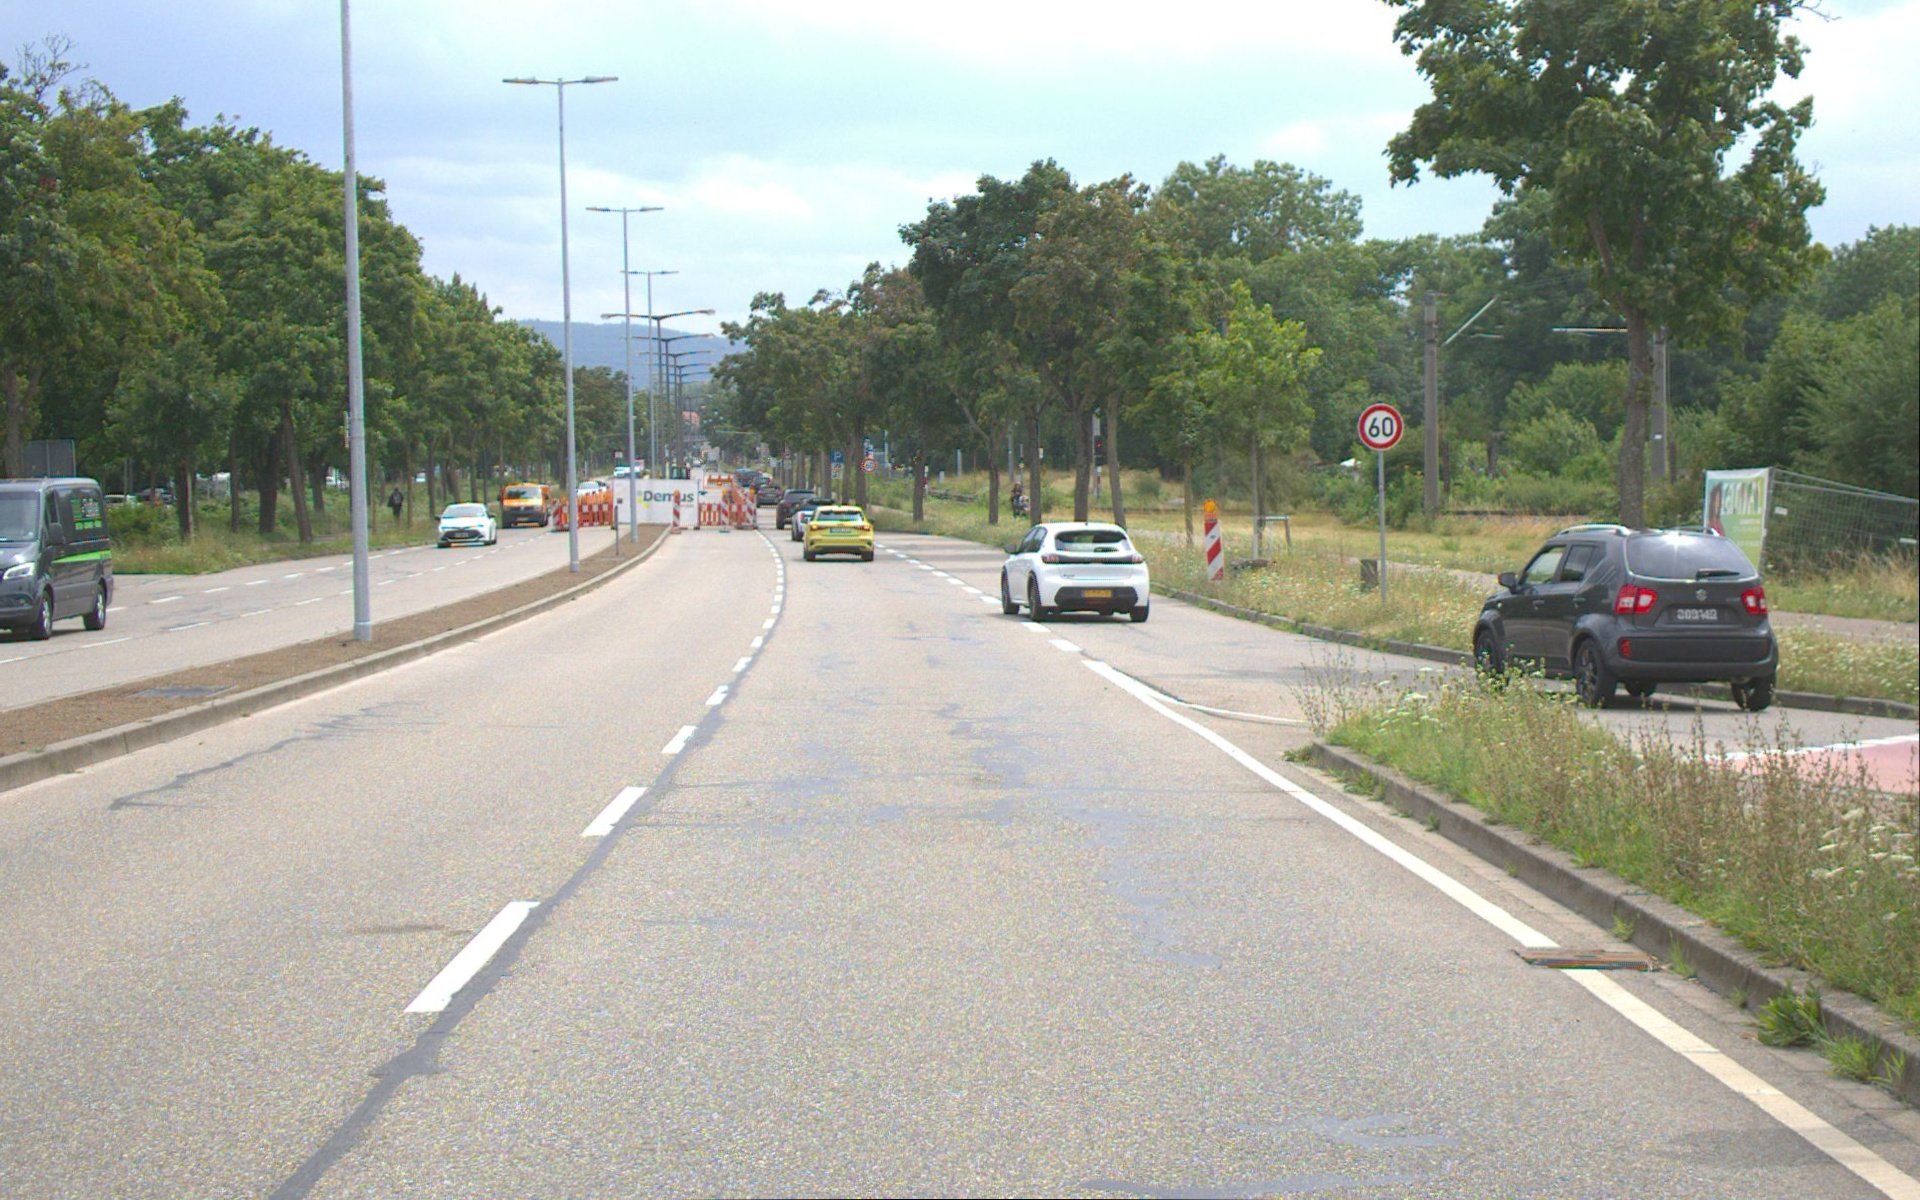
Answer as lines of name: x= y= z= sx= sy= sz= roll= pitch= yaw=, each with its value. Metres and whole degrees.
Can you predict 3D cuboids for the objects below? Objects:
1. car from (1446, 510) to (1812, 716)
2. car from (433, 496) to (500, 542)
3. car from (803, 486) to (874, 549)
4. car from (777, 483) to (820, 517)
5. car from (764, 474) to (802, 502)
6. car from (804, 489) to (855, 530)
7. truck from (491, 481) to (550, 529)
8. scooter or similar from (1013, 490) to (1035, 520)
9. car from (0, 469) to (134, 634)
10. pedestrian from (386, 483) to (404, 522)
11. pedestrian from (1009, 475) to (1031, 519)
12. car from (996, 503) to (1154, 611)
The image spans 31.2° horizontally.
car: x=5.892 y=0.056 z=30.772 sx=1.703 sy=1.662 sz=4.002 roll=0 pitch=2 yaw=-13
car: x=-16.550 y=-2.732 z=115.372 sx=1.716 sy=1.415 sz=4.161 roll=-2 pitch=3 yaw=-2
car: x=-3.186 y=-2.185 z=90.148 sx=1.793 sy=1.556 sz=4.001 roll=-1 pitch=3 yaw=-2
car: x=-6.564 y=-4.080 z=139.987 sx=1.667 sy=1.265 sz=4.001 roll=-1 pitch=3 yaw=-2
car: x=-10.991 y=-7.009 z=214.202 sx=2.206 sy=1.678 sz=4.001 roll=-1 pitch=3 yaw=-1
car: x=-4.349 y=-3.040 z=114.687 sx=1.667 sy=1.265 sz=4.001 roll=-1 pitch=3 yaw=-2
truck: x=-19.693 y=-4.280 z=154.245 sx=2.088 sy=1.987 sz=6.040 roll=-2 pitch=3 yaw=-2
scooter or similar: x=2.460 y=-3.673 z=132.735 sx=0.681 sy=1.126 sz=0.934 roll=-1 pitch=3 yaw=-8
car: x=-13.417 y=-0.724 z=48.805 sx=2.095 sy=2.193 sz=6.005 roll=-2 pitch=2 yaw=-2
pedestrian: x=-26.725 y=-4.611 z=162.654 sx=0.690 sy=1.832 sz=0.651 roll=-2 pitch=3 yaw=-25
pedestrian: x=2.337 y=-3.995 z=133.648 sx=0.690 sy=1.689 sz=0.934 roll=-1 pitch=2 yaw=-8
car: x=1.669 y=-0.673 z=51.261 sx=1.766 sy=1.459 sz=4.001 roll=-1 pitch=3 yaw=-7
